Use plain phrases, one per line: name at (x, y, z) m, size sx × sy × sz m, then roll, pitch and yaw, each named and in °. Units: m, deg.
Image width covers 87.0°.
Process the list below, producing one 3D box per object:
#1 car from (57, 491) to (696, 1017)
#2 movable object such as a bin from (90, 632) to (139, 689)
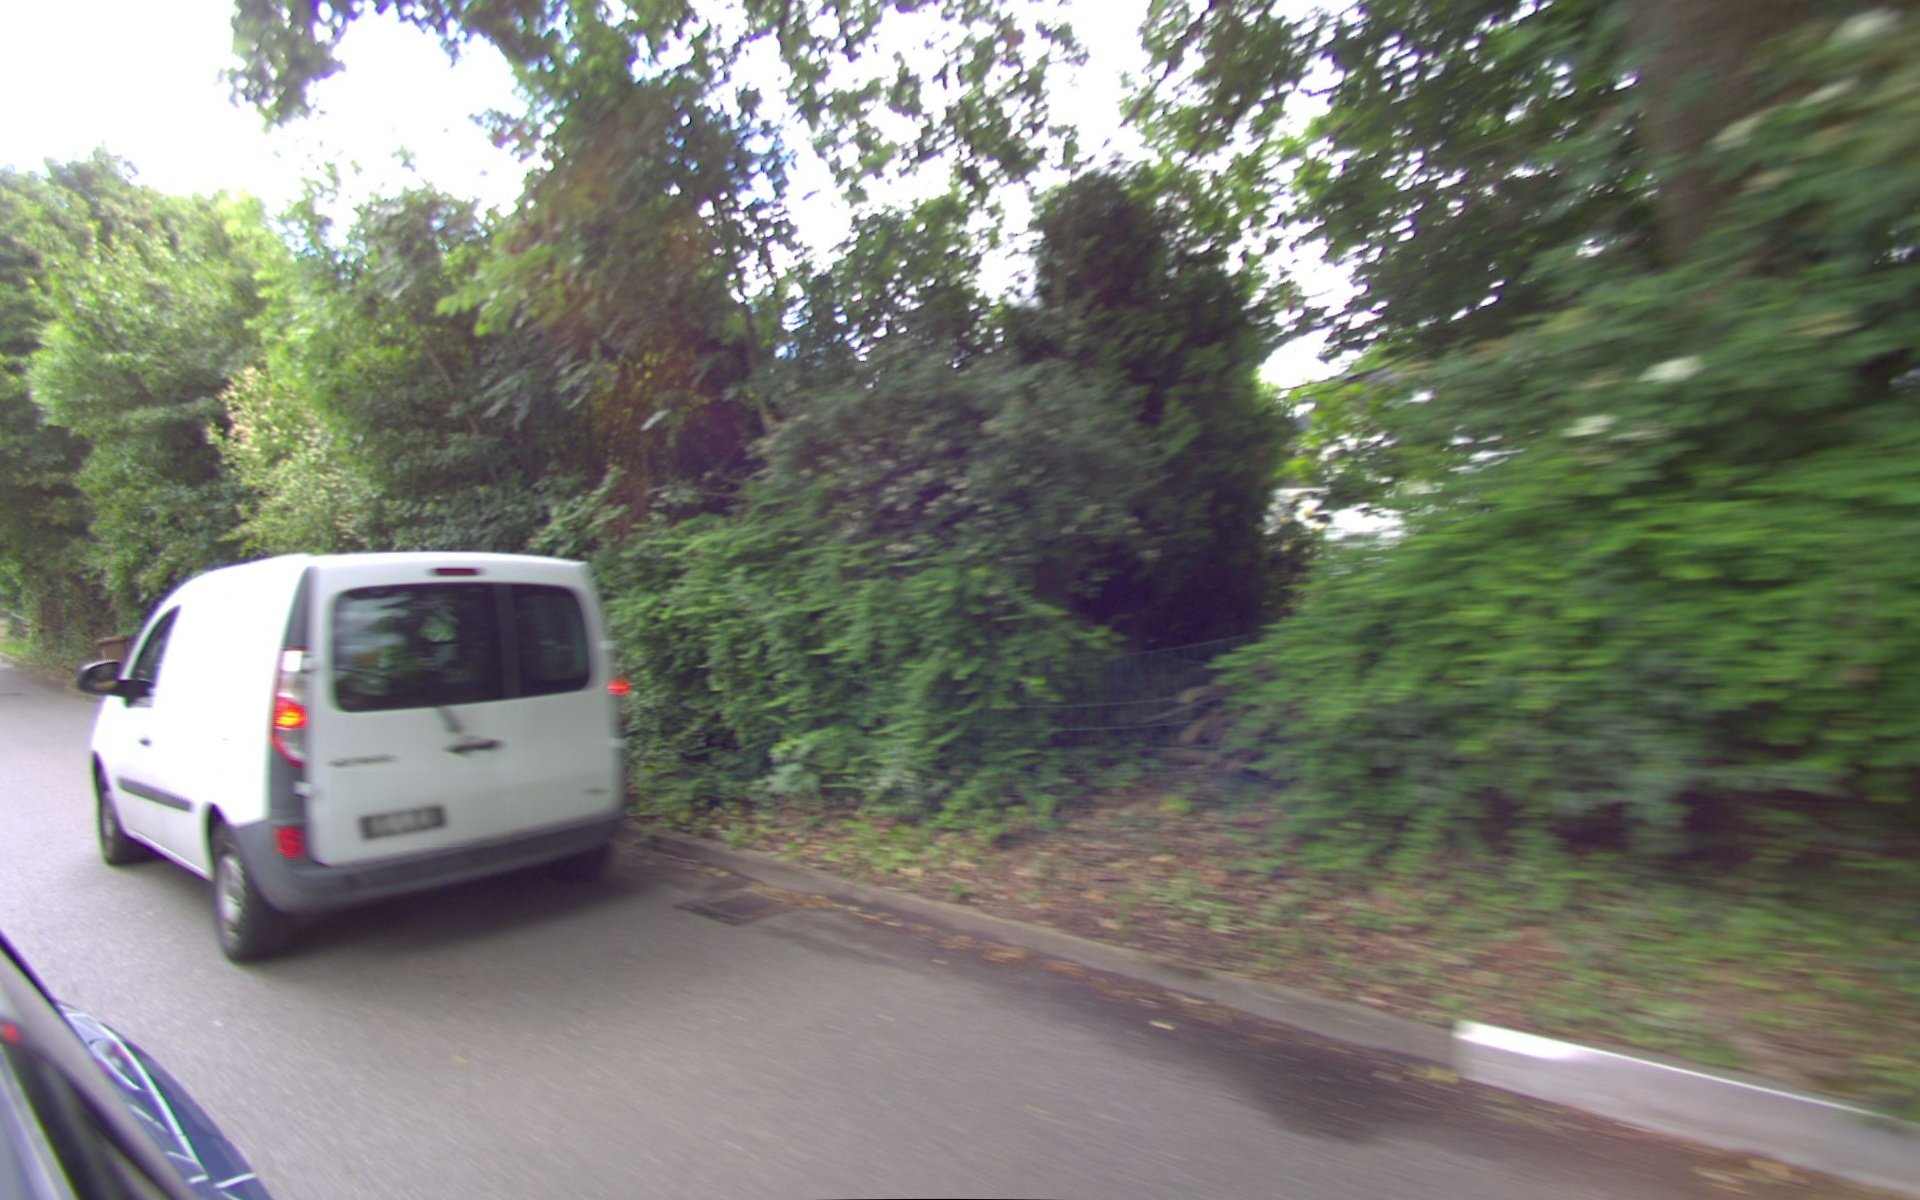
car at (-3.613, 0.565, 5.863) m, size 4.429 × 1.928 × 1.854 m, roll 0°, pitch 0°, yaw 41°
movable object such as a bin at (-16.033, 1.133, 19.197) m, size 0.640 × 1.020 × 0.634 m, roll 0°, pitch 0°, yaw -33°
